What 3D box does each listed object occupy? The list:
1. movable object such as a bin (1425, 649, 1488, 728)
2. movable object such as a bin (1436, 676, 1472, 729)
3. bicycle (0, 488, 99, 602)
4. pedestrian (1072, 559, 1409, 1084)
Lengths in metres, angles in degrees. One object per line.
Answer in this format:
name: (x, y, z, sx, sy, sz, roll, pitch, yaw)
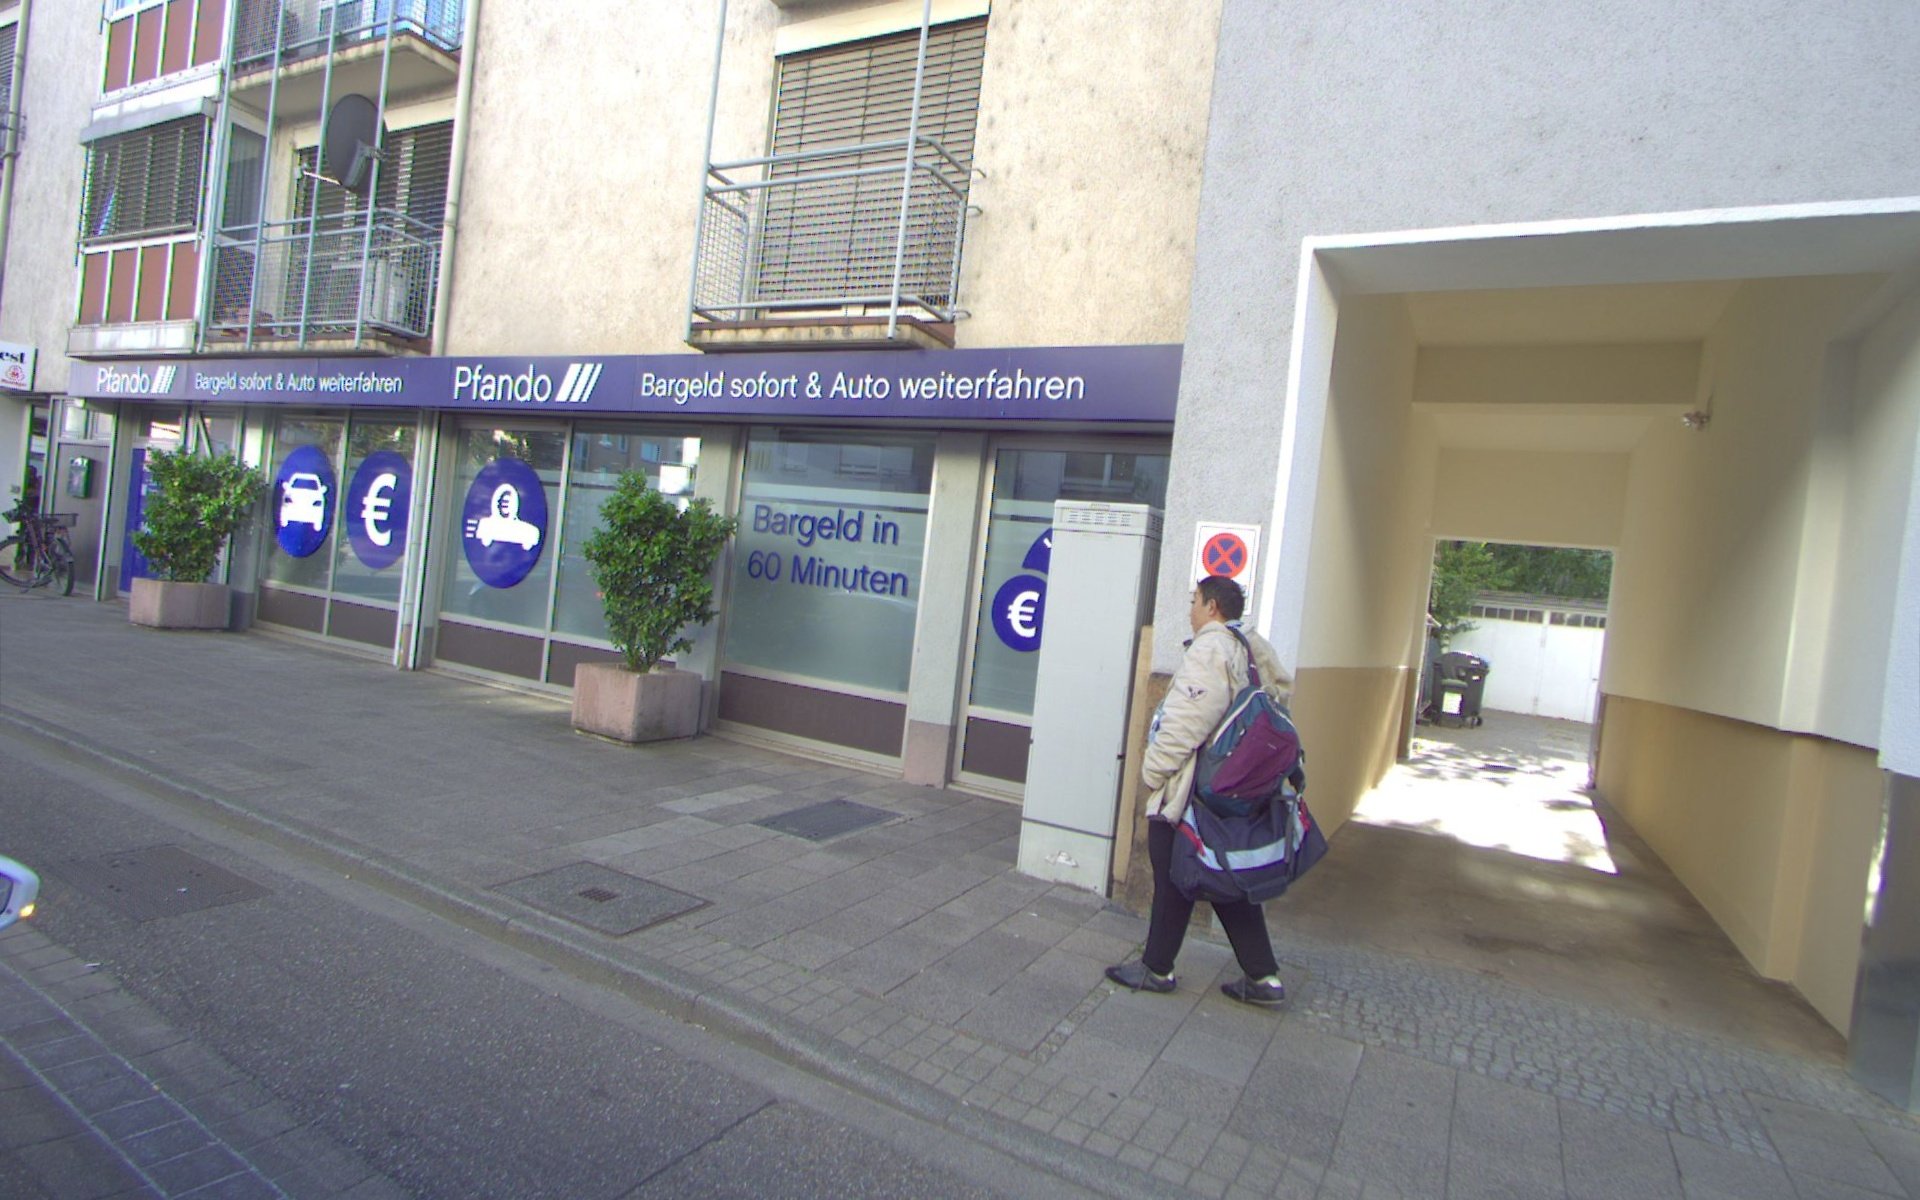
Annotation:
movable object such as a bin: (10.109, 1.780, 20.460, 0.945, 1.426, 1.598, 7, 1, 29)
movable object such as a bin: (9.557, 1.973, 19.457, 0.518, 0.922, 0.580, 7, 1, 29)
bicycle: (-11.847, -0.732, 12.880, 1.879, 1.280, 0.640, 7, 1, 32)
pedestrian: (1.065, 0.707, 3.737, 0.853, 1.593, 0.874, 8, 3, 29)
